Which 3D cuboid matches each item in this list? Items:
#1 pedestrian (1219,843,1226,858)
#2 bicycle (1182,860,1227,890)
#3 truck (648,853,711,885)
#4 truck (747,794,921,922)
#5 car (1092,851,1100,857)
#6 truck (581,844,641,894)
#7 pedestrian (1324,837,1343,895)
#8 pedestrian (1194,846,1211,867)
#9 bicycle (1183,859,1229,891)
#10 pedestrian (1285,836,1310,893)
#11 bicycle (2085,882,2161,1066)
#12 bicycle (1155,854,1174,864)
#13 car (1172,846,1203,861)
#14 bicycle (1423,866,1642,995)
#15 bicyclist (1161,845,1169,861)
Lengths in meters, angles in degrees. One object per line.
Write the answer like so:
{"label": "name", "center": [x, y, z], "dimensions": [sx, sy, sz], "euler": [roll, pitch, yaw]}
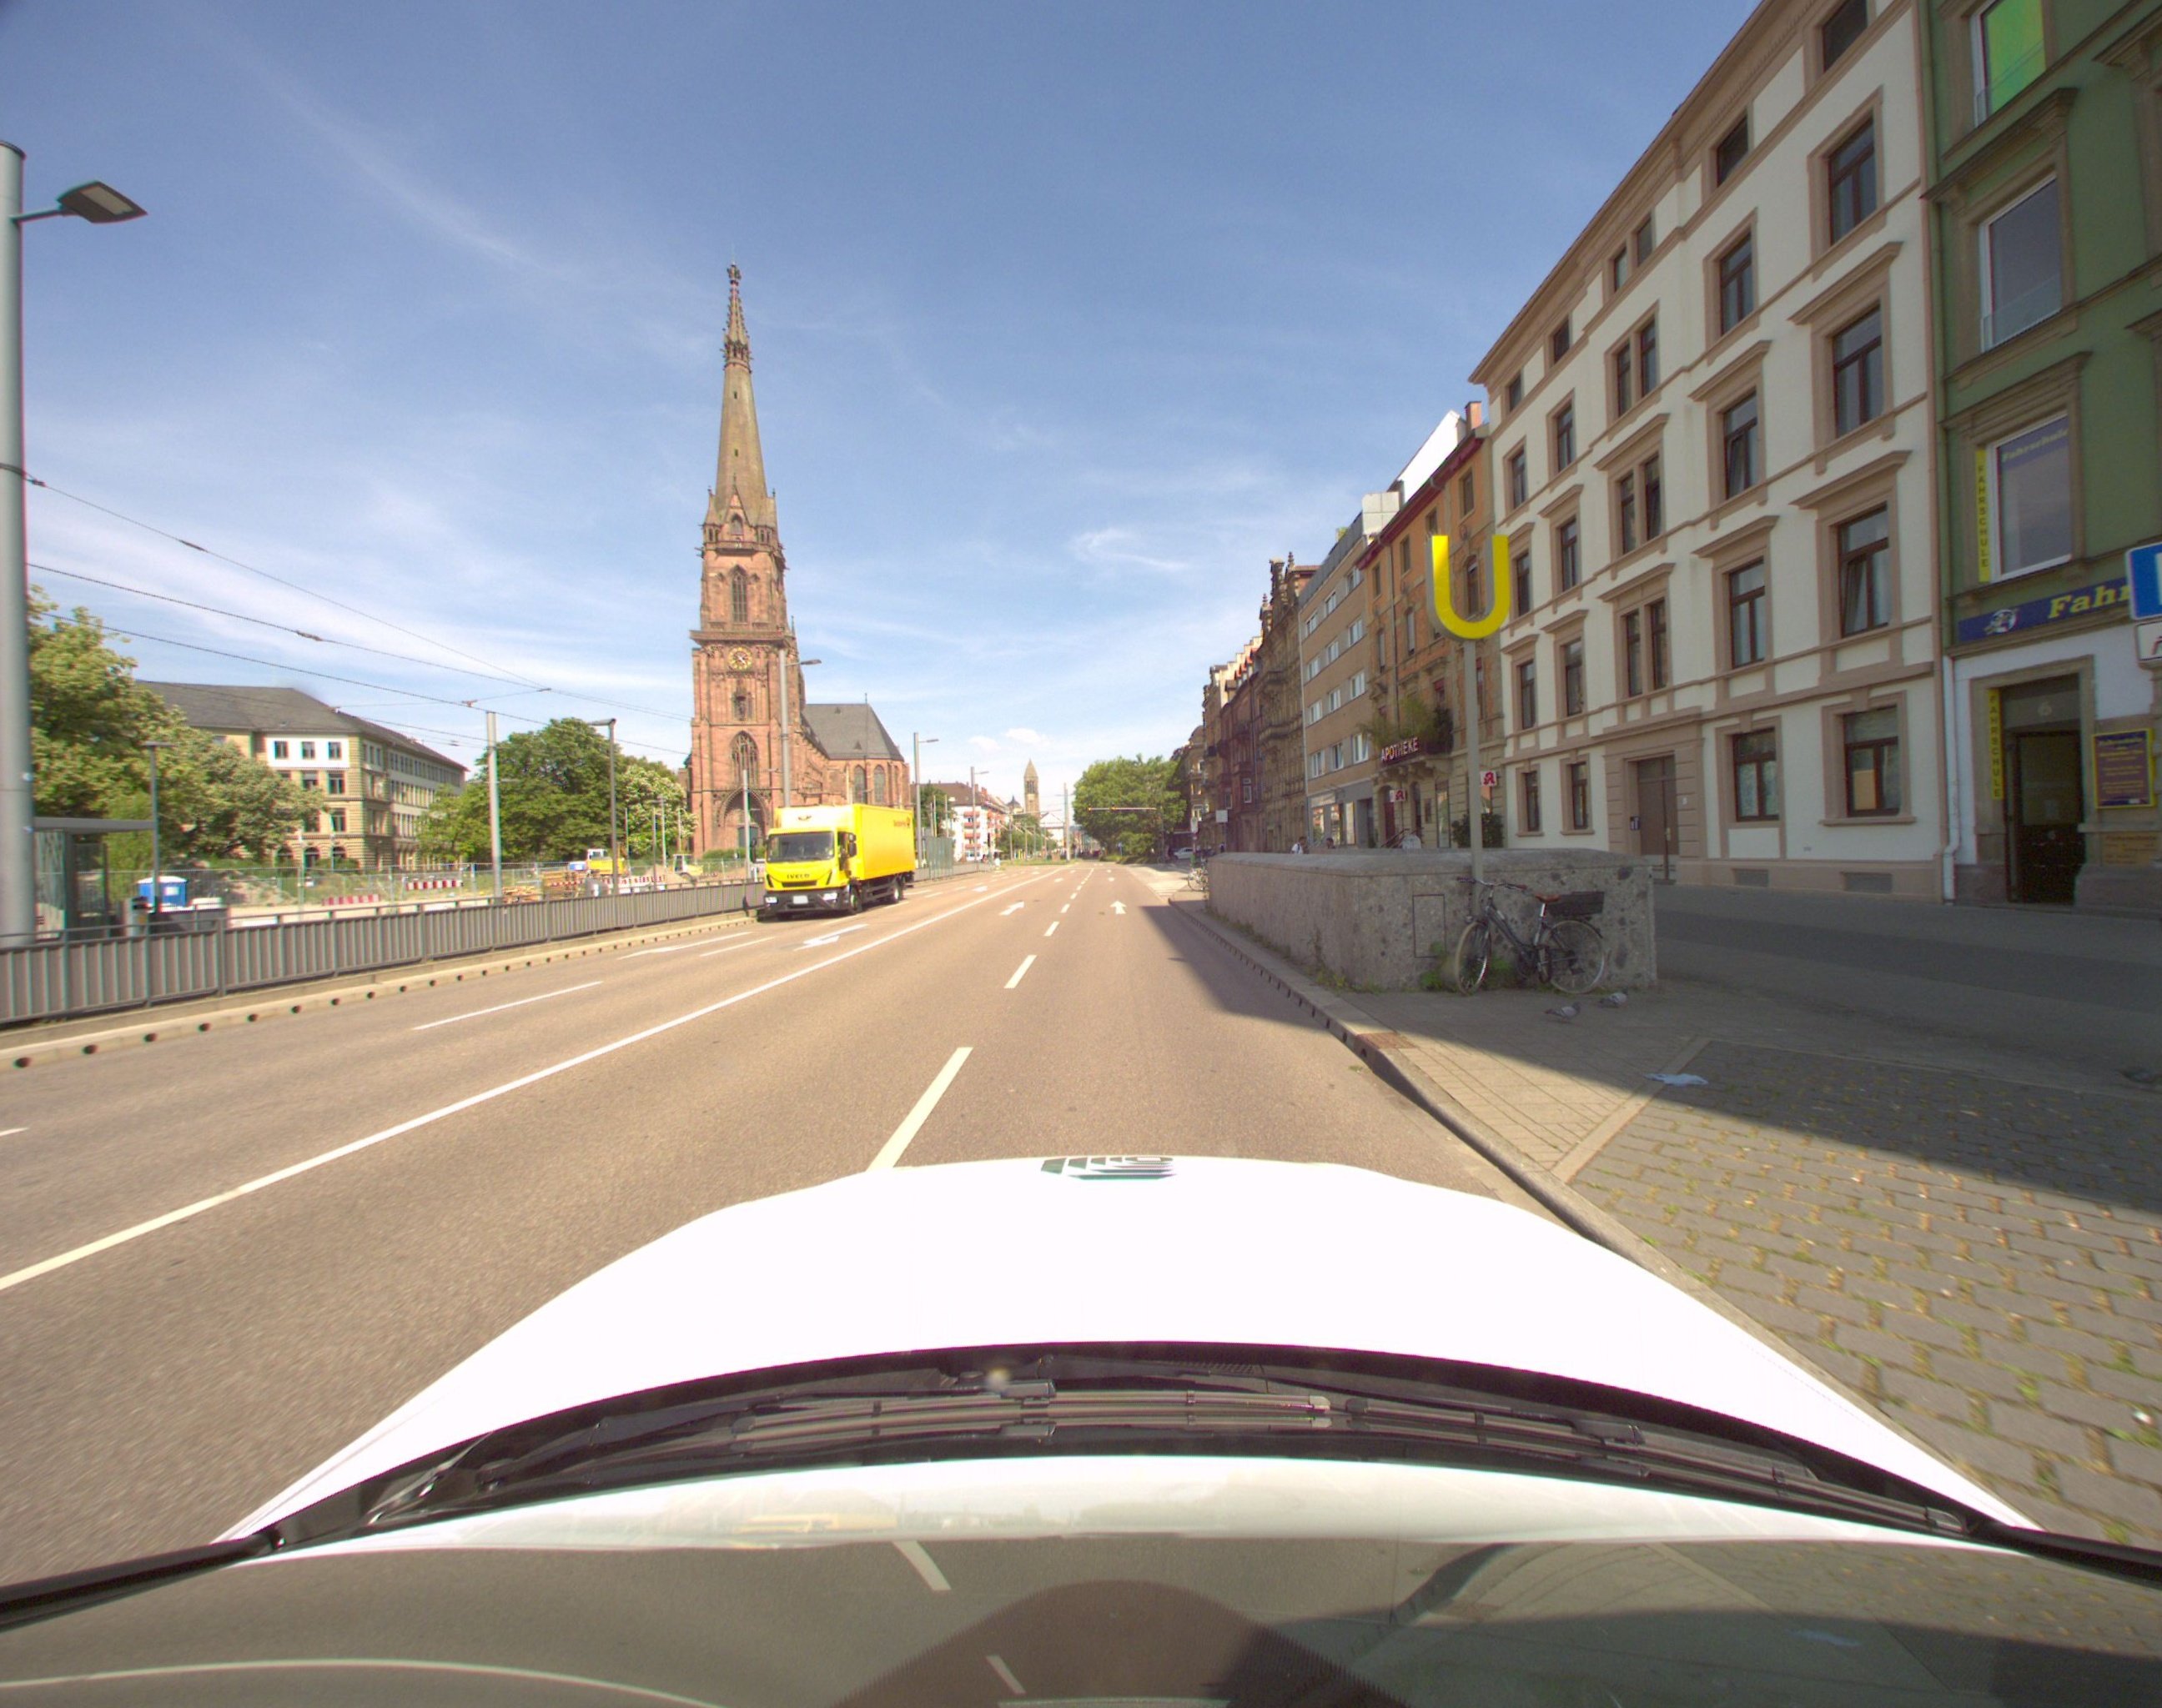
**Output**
{"label": "pedestrian", "center": [14.244, -0.353, 82.000], "dimensions": [0.531, 1.406, 0.490], "euler": [-3, 2, -5]}
{"label": "bicycle", "center": [4.231, 0.711, 27.881], "dimensions": [1.455, 0.947, 0.415], "euler": [-2, -1, 1]}
{"label": "truck", "center": [-36.570, 1.386, 74.226], "dimensions": [4.377, 2.678, 2.390], "euler": [-2, 0, 6]}
{"label": "truck", "center": [-7.625, 0.111, 26.706], "dimensions": [2.534, 3.298, 9.030], "euler": [-5, 0, 1]}
{"label": "car", "center": [3.849, 0.022, 209.347], "dimensions": [1.893, 1.376, 3.814], "euler": [-2, 0, -1]}
{"label": "truck", "center": [-36.412, 1.121, 63.297], "dimensions": [3.031, 3.569, 6.000], "euler": [-2, 0, -21]}
{"label": "pedestrian", "center": [7.462, 0.352, 24.083], "dimensions": [0.370, 1.665, 0.525], "euler": [-2, 0, 2]}
{"label": "pedestrian", "center": [8.226, 0.156, 55.055], "dimensions": [0.944, 1.325, 0.822], "euler": [-2, 0, -1]}
{"label": "bicycle", "center": [4.211, 0.701, 27.434], "dimensions": [1.455, 0.976, 0.416], "euler": [-2, 2, 1]}
{"label": "pedestrian", "center": [6.442, 0.318, 24.264], "dimensions": [0.551, 1.665, 0.525], "euler": [-2, 0, 1]}
{"label": "bicycle", "center": [6.920, 0.739, 4.445], "dimensions": [0.580, 1.094, 1.821], "euler": [-5, -1, 2]}
{"label": "bicycle", "center": [8.193, 0.467, 80.248], "dimensions": [1.821, 0.863, 0.481], "euler": [-2, 2, -14]}
{"label": "car", "center": [14.001, -0.063, 107.135], "dimensions": [3.970, 1.749, 2.002], "euler": [-2, 2, 3]}
{"label": "bicycle", "center": [4.273, 0.707, 7.783], "dimensions": [1.736, 1.094, 0.597], "euler": [-2, 1, 1]}
{"label": "bicyclist", "center": [8.309, -0.118, 80.266], "dimensions": [0.640, 1.591, 0.481], "euler": [-2, 2, -14]}
